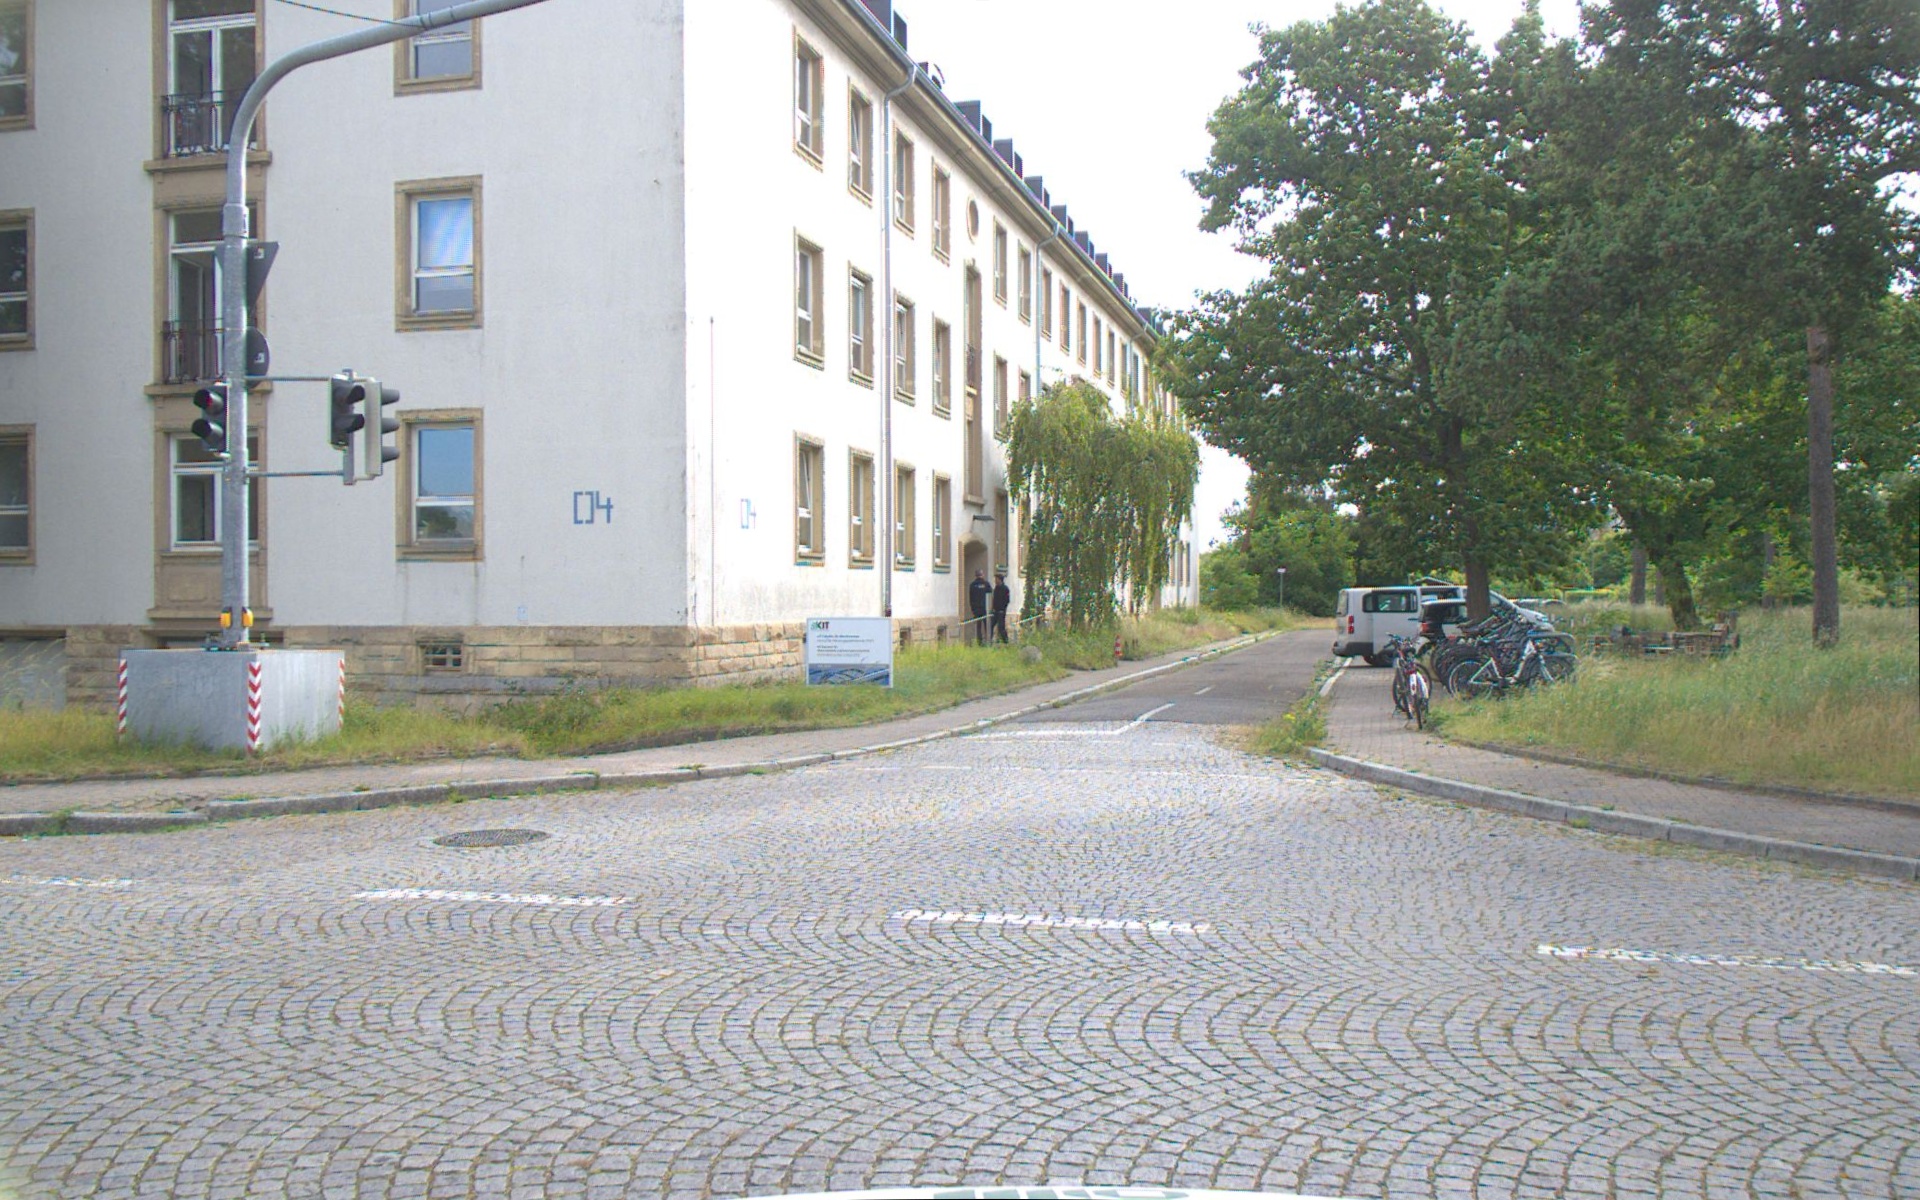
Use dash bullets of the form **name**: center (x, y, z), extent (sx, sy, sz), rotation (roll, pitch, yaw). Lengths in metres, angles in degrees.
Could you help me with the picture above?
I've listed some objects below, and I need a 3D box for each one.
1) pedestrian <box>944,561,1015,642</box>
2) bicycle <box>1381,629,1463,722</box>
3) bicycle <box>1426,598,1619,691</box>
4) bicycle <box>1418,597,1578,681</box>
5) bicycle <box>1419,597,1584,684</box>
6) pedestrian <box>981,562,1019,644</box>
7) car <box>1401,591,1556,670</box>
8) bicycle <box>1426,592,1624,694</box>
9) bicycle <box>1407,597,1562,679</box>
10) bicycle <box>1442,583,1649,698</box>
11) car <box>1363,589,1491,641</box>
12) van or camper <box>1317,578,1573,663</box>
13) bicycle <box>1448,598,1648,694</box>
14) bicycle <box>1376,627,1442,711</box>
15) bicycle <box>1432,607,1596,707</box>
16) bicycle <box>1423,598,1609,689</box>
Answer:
- **pedestrian**: center (0.478, 0.036, 39.810), extent (1.512, 1.902, 1.199), rotation (1, 0, 9)
- **bicycle**: center (5.483, 0.873, 19.729), extent (0.881, 1.014, 1.980), rotation (0, 0, 14)
- **bicycle**: center (8.610, 0.668, 25.445), extent (2.743, 1.396, 0.951), rotation (0, 0, 14)
- **bicycle**: center (9.099, 0.649, 28.108), extent (2.513, 1.396, 0.951), rotation (0, 0, 14)
- **bicycle**: center (8.904, 0.645, 27.290), extent (2.513, 1.396, 0.951), rotation (0, 0, 14)
- **pedestrian**: center (0.982, 0.076, 40.751), extent (0.847, 1.966, 0.837), rotation (2, 0, 3)
- **car**: center (11.499, 0.658, 36.871), extent (3.156, 1.649, 1.939), rotation (1, 0, 14)
- **bicycle**: center (7.891, 0.586, 23.219), extent (2.563, 1.391, 0.875), rotation (0, 0, 14)
- **bicycle**: center (9.152, 0.651, 28.962), extent (2.513, 1.396, 0.951), rotation (0, 0, 14)
- **bicycle**: center (8.434, 0.568, 23.975), extent (2.743, 1.611, 0.951), rotation (0, 0, 14)
- **car**: center (15.120, 0.489, 53.745), extent (3.902, 1.628, 1.705), rotation (0, 0, 12)
- **van or camper**: center (11.717, 0.488, 40.269), extent (5.622, 1.991, 2.238), rotation (0, 0, 2)
- **bicycle**: center (8.787, 0.671, 24.844), extent (2.743, 1.396, 0.951), rotation (0, 0, 14)
- **bicycle**: center (5.931, 0.883, 21.776), extent (0.712, 1.014, 1.979), rotation (0, 0, 19)
- **bicycle**: center (7.559, 0.759, 22.674), extent (2.068, 1.329, 0.875), rotation (0, 0, 14)
- **bicycle**: center (8.804, 0.672, 26.319), extent (2.743, 1.396, 0.951), rotation (0, 0, 14)
